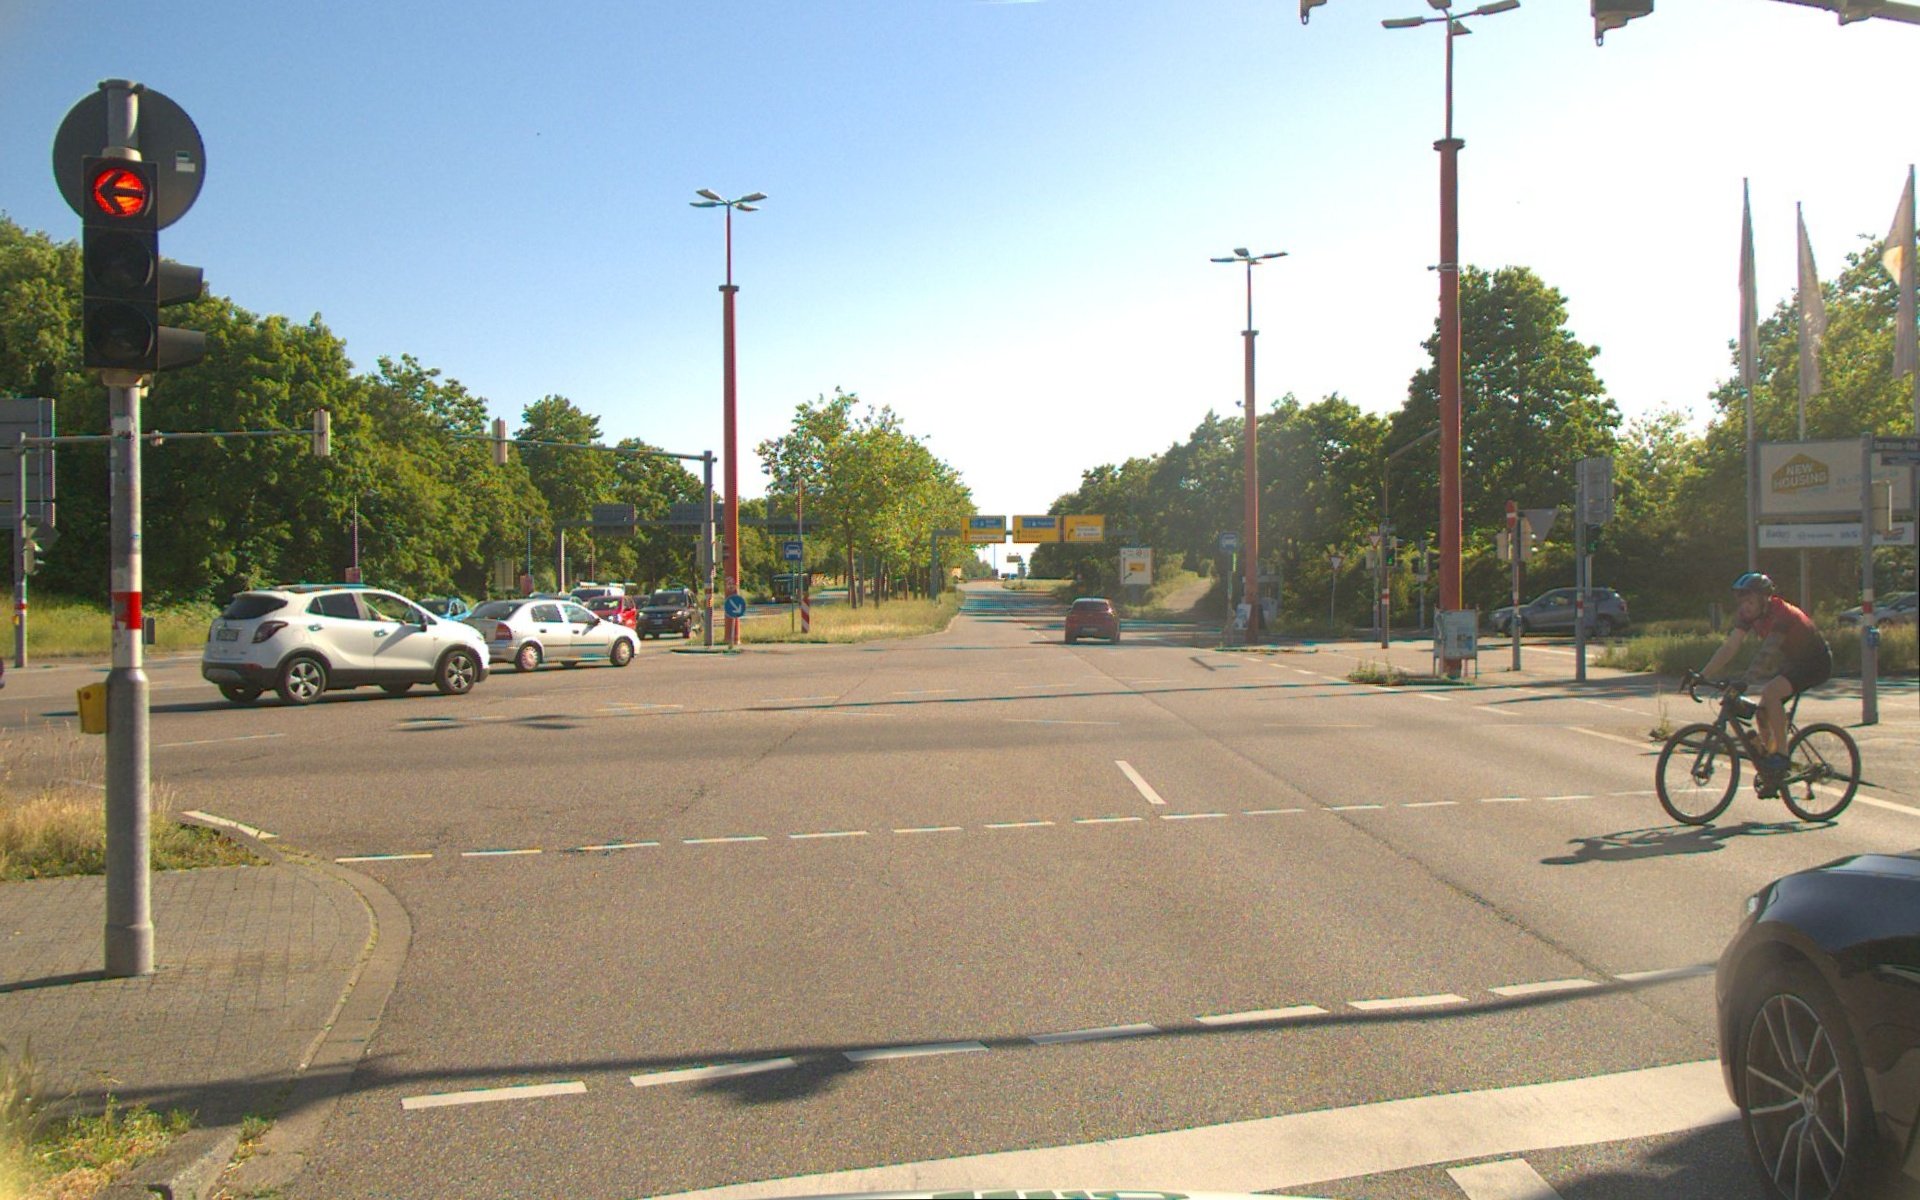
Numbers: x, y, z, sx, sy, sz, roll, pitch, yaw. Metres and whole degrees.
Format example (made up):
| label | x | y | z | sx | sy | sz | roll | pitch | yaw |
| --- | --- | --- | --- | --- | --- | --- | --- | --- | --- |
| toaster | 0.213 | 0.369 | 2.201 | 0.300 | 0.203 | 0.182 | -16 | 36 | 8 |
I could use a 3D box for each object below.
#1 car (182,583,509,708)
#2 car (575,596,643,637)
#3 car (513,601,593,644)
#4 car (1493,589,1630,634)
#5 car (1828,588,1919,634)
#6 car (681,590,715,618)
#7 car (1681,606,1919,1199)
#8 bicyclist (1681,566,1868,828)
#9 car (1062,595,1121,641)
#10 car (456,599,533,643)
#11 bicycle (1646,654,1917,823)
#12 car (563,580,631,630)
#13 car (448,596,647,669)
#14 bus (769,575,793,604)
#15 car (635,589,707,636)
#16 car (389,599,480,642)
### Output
| label | x | y | z | sx | sy | sz | roll | pitch | yaw |
| --- | --- | --- | --- | --- | --- | --- | --- | --- | --- |
| car | -8.943 | 0.600 | 24.360 | 1.793 | 1.665 | 4.234 | 0 | 0 | 38 |
| car | -12.281 | 0.551 | 58.076 | 1.704 | 1.386 | 3.611 | 0 | 0 | -2 |
| car | -12.674 | 0.668 | 51.698 | 1.704 | 1.265 | 3.611 | 0 | 0 | -2 |
| car | 20.510 | 0.386 | 56.520 | 4.223 | 1.511 | 1.787 | 0 | 0 | 14 |
| car | 31.414 | 0.349 | 55.313 | 3.897 | 1.493 | 1.685 | 0 | 0 | 6 |
| car | -19.719 | 0.263 | 124.478 | 1.953 | 2.049 | 3.999 | 0 | 0 | -1 |
| car | 2.905 | 0.734 | 2.362 | 1.831 | 1.422 | 4.443 | 0 | 0 | 0 |
| bicyclist | 5.756 | 0.651 | 11.703 | 0.981 | 1.772 | 0.731 | 0 | 0 | -25 |
| car | 4.434 | 0.583 | 55.294 | 1.644 | 1.460 | 4.068 | 0 | 0 | 9 |
| car | -15.931 | 0.699 | 56.794 | 1.704 | 1.436 | 3.611 | 0 | 0 | -2 |
| bicycle | 5.832 | 0.949 | 11.737 | 1.800 | 1.076 | 0.718 | 0 | 0 | -22 |
| car | -15.461 | 0.223 | 70.702 | 1.855 | 2.061 | 5.221 | 1 | 0 | -2 |
| car | -8.204 | 0.635 | 33.182 | 1.456 | 1.369 | 3.989 | 0 | -1 | 32 |
| bus | -20.919 | -1.188 | 193.716 | 2.443 | 3.295 | 9.991 | 0 | 0 | -4 |
| car | -9.756 | 0.399 | 56.154 | 1.782 | 1.534 | 3.999 | 0 | 0 | -1 |
| car | -16.055 | 0.610 | 50.677 | 1.704 | 1.265 | 3.611 | 0 | 0 | -2 |
